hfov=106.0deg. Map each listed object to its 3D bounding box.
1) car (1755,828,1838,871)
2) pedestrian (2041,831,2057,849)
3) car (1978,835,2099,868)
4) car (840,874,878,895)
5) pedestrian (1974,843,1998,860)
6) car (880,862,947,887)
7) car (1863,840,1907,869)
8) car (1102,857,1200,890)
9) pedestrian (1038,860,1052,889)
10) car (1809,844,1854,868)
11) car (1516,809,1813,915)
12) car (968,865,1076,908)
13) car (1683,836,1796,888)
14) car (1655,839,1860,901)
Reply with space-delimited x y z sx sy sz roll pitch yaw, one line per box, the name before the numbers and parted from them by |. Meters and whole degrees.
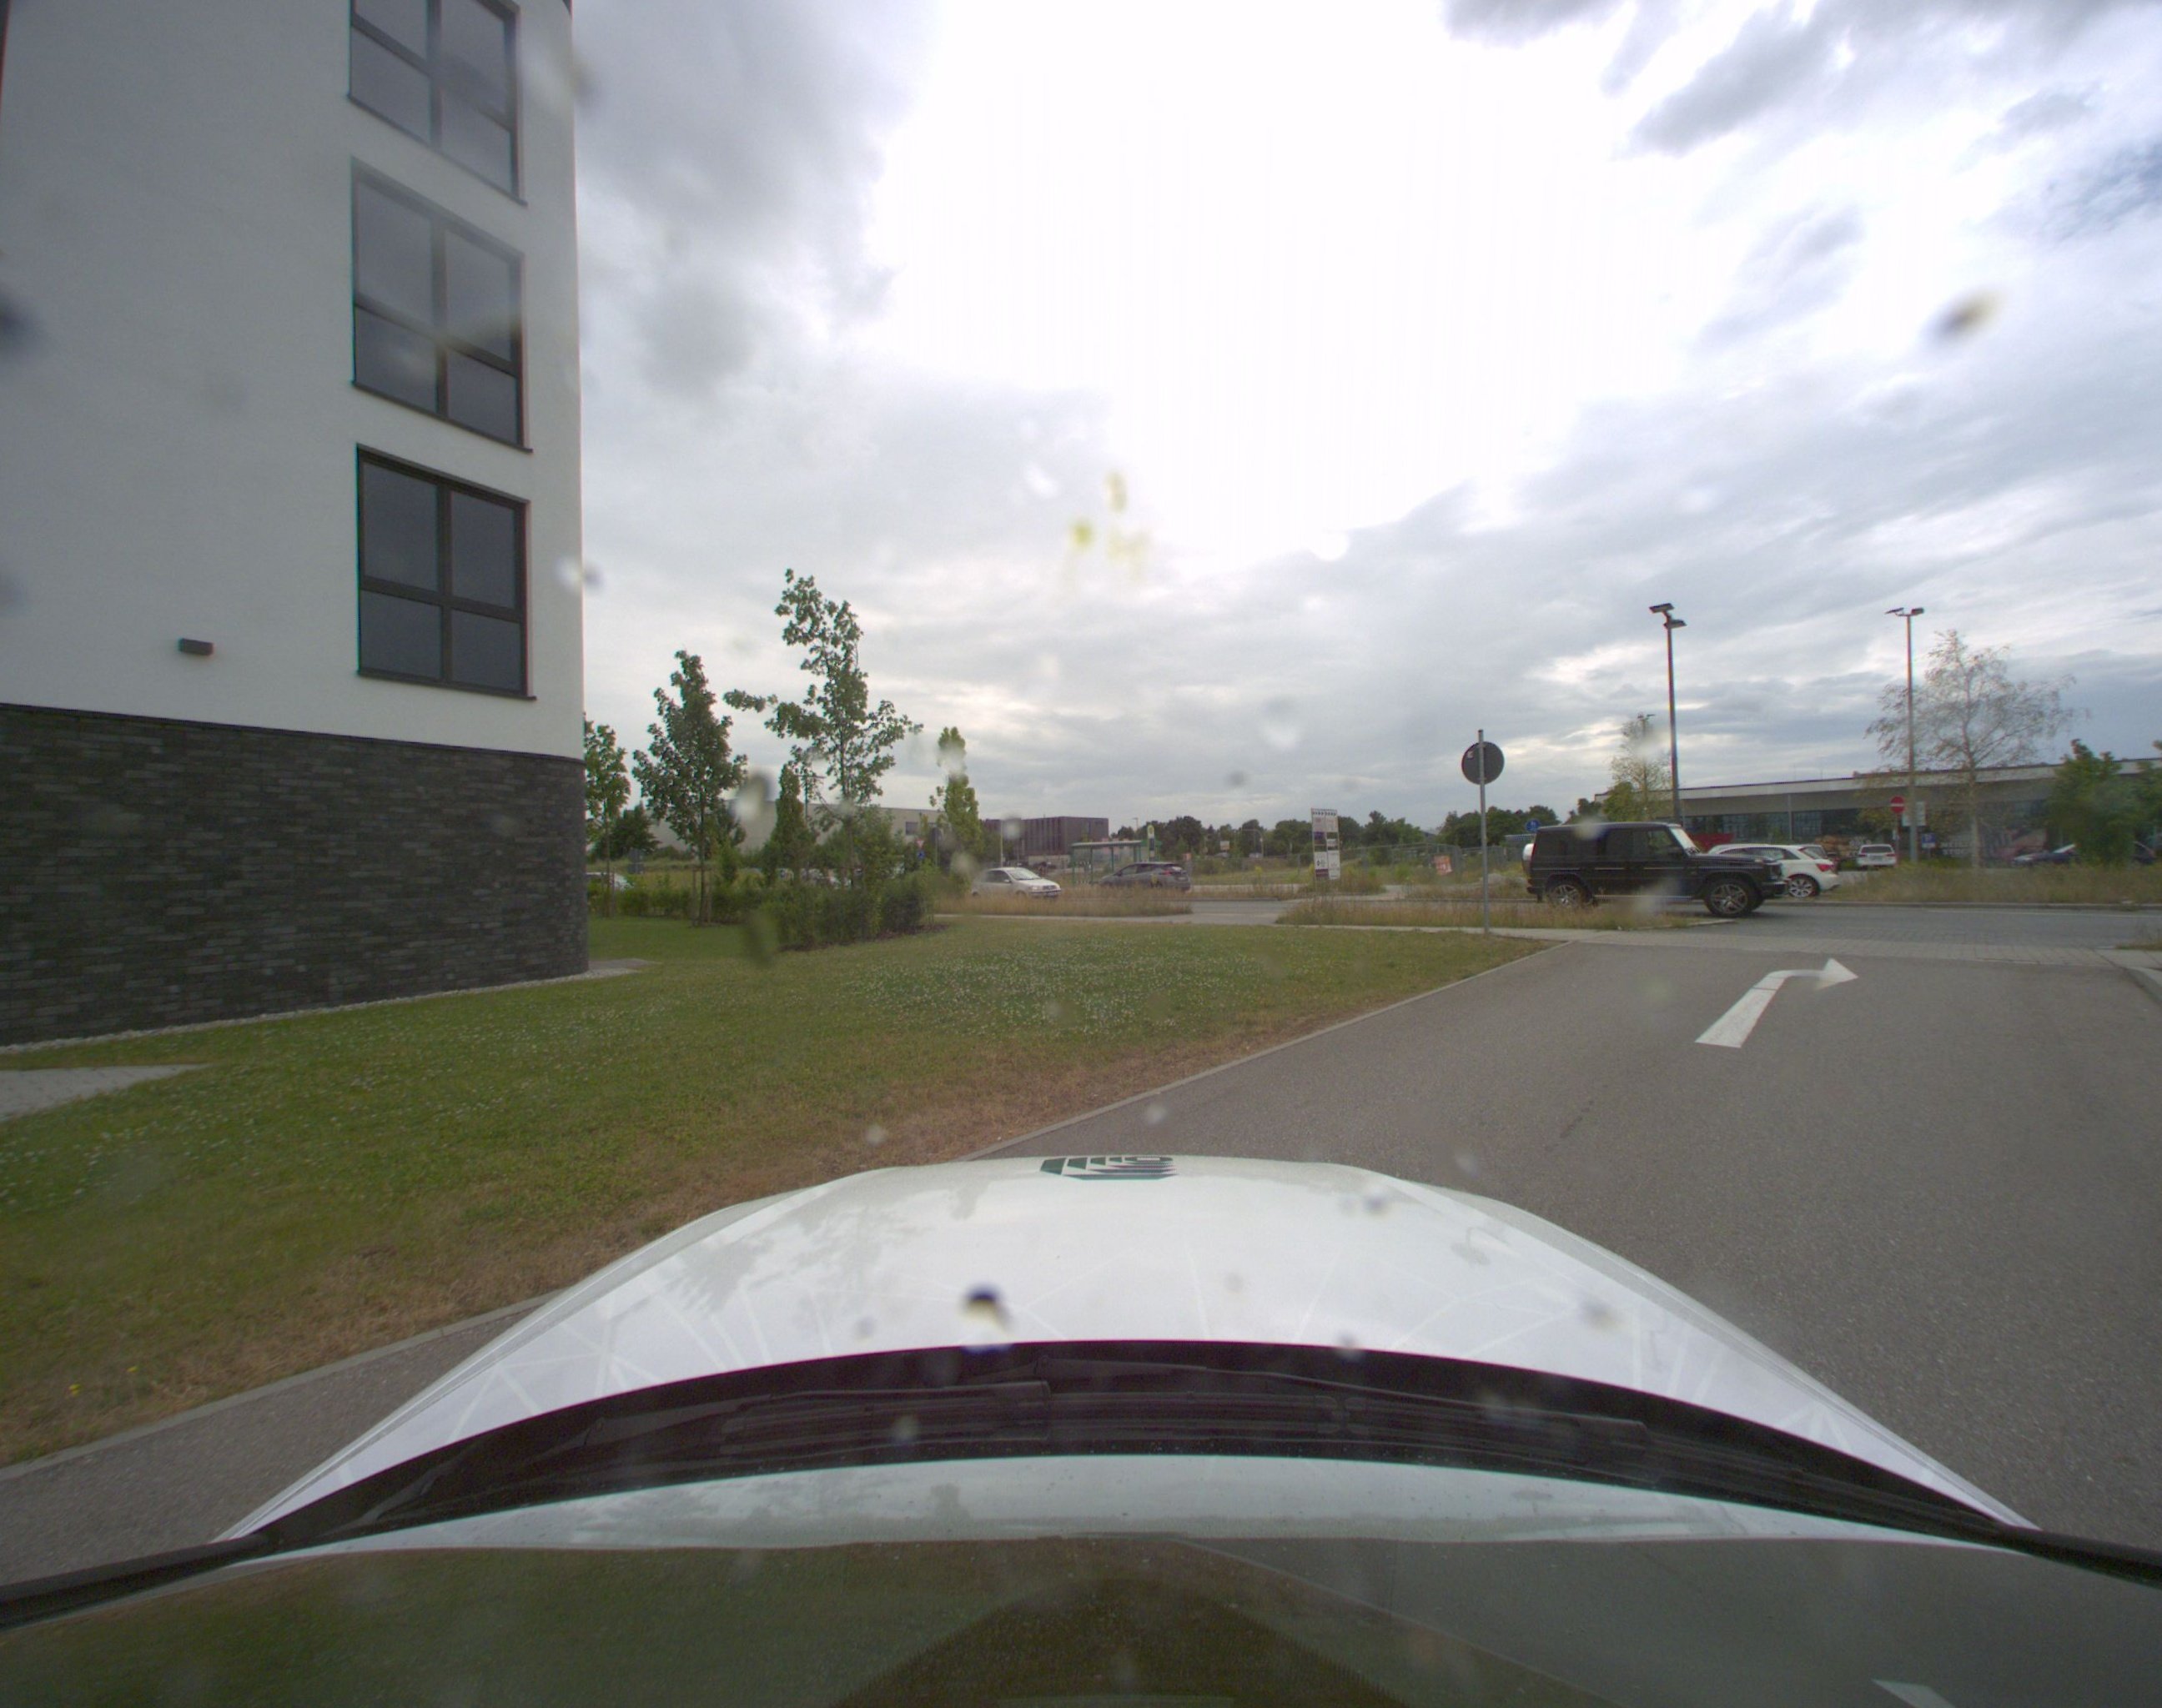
car | 26.406 -0.142 29.988 4.635 1.445 1.764 -1 -1 -42
pedestrian | 62.855 -0.898 52.881 0.570 1.124 0.565 -2 -1 41
car | 45.993 -0.101 39.219 3.573 1.454 1.678 -2 -1 43
car | -15.718 2.110 57.505 1.723 1.343 3.926 -1 0 -29
pedestrian | 61.964 -0.170 55.786 0.961 1.154 1.140 -2 -1 43
car | -9.548 1.160 46.331 3.913 1.343 1.729 -1 0 41
car | 51.922 0.027 52.579 4.258 1.700 1.807 -2 0 -43
car | 3.000 0.852 35.393 4.012 1.343 1.729 -1 0 41
pedestrian | -2.206 1.245 49.771 0.742 1.722 0.648 -1 -1 -13
car | 49.989 0.114 54.251 4.023 1.444 1.889 -1 -1 -43
car | 12.147 0.157 17.225 2.011 1.923 4.788 -1 0 -44
car | -2.222 1.198 30.163 3.767 1.461 1.812 -2 -1 40
car | 20.525 0.211 25.326 4.341 1.466 1.777 -2 0 -38
car | 17.741 0.408 21.498 4.005 1.481 1.769 -1 -1 43
